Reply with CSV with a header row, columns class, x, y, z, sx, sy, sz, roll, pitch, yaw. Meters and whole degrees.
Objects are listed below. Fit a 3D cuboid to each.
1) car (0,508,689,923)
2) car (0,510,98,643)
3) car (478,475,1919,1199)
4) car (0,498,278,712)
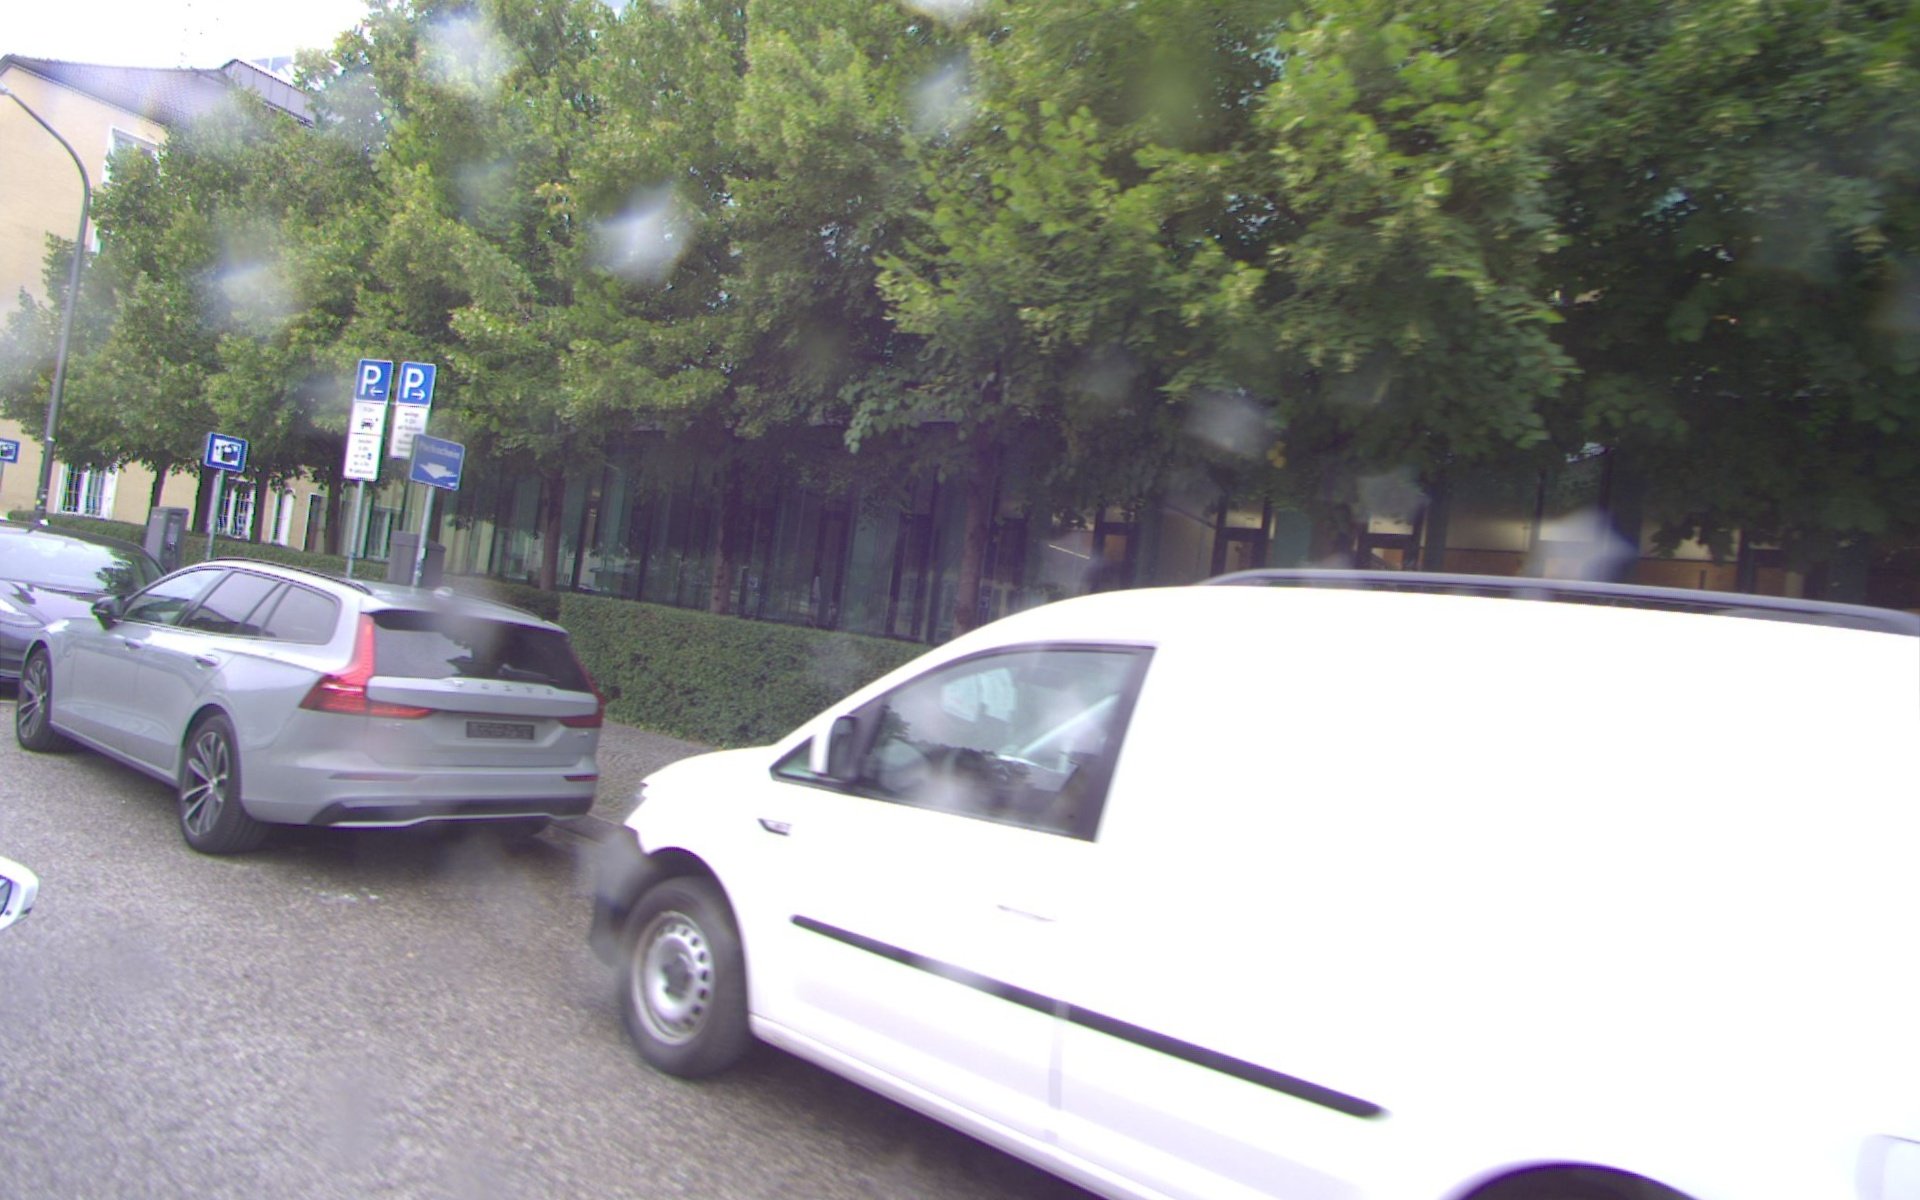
class,x,y,z,sx,sy,sz,roll,pitch,yaw
car,-4.248,0.481,6.421,4.925,1.569,1.951,6,-4,34
car,-13.294,-0.547,12.897,4.877,1.475,1.998,6,-4,33
car,0.622,0.775,3.291,4.502,1.916,1.788,6,-3,35
car,-8.884,-0.081,9.864,4.774,1.569,1.965,6,-4,36
